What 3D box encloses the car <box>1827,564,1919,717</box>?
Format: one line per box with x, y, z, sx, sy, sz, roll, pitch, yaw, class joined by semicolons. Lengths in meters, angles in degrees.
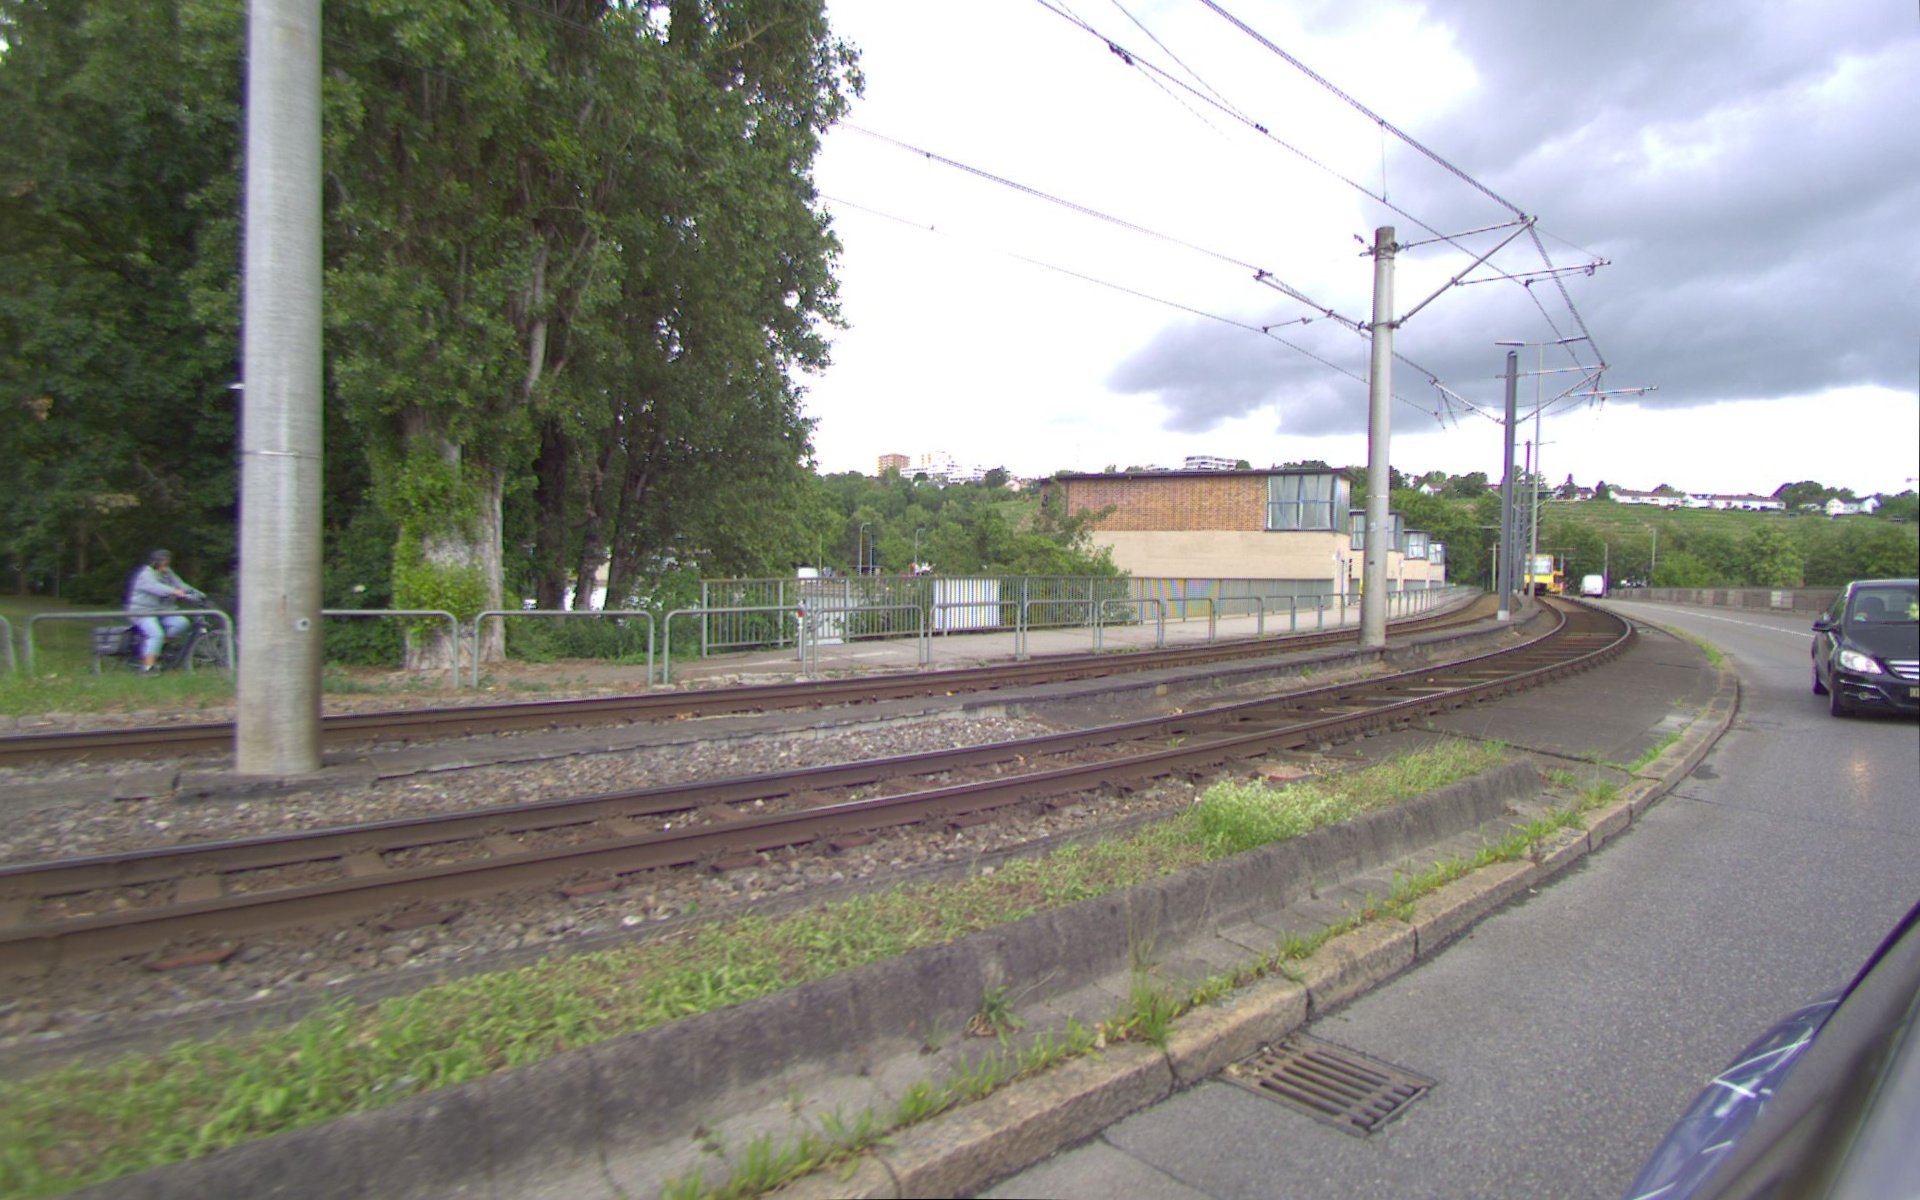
11.703;0.399;12.166;1.854;1.642;3.940;-1;0;42;car

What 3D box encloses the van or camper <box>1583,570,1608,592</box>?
73.924;-2.153;117.739;2.137;2.506;4.665;0;1;28;van or camper

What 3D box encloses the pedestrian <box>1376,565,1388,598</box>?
21.471;-0.949;51.459;0.506;1.686;0.349;1;1;25;pedestrian

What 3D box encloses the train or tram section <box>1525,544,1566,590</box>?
53.068;-3.002;91.661;3.009;3.967;9.339;2;2;31;train or tram section

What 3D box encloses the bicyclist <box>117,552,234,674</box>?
-9.106;0.146;11.765;0.894;1.377;0.595;0;0;3;bicyclist

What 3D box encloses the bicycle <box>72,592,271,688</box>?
-9.123;0.451;11.722;2.042;1.063;0.427;0;0;4;bicycle

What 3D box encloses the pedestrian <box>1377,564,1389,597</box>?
21.641;-0.984;51.812;0.506;1.686;0.349;1;1;25;pedestrian
